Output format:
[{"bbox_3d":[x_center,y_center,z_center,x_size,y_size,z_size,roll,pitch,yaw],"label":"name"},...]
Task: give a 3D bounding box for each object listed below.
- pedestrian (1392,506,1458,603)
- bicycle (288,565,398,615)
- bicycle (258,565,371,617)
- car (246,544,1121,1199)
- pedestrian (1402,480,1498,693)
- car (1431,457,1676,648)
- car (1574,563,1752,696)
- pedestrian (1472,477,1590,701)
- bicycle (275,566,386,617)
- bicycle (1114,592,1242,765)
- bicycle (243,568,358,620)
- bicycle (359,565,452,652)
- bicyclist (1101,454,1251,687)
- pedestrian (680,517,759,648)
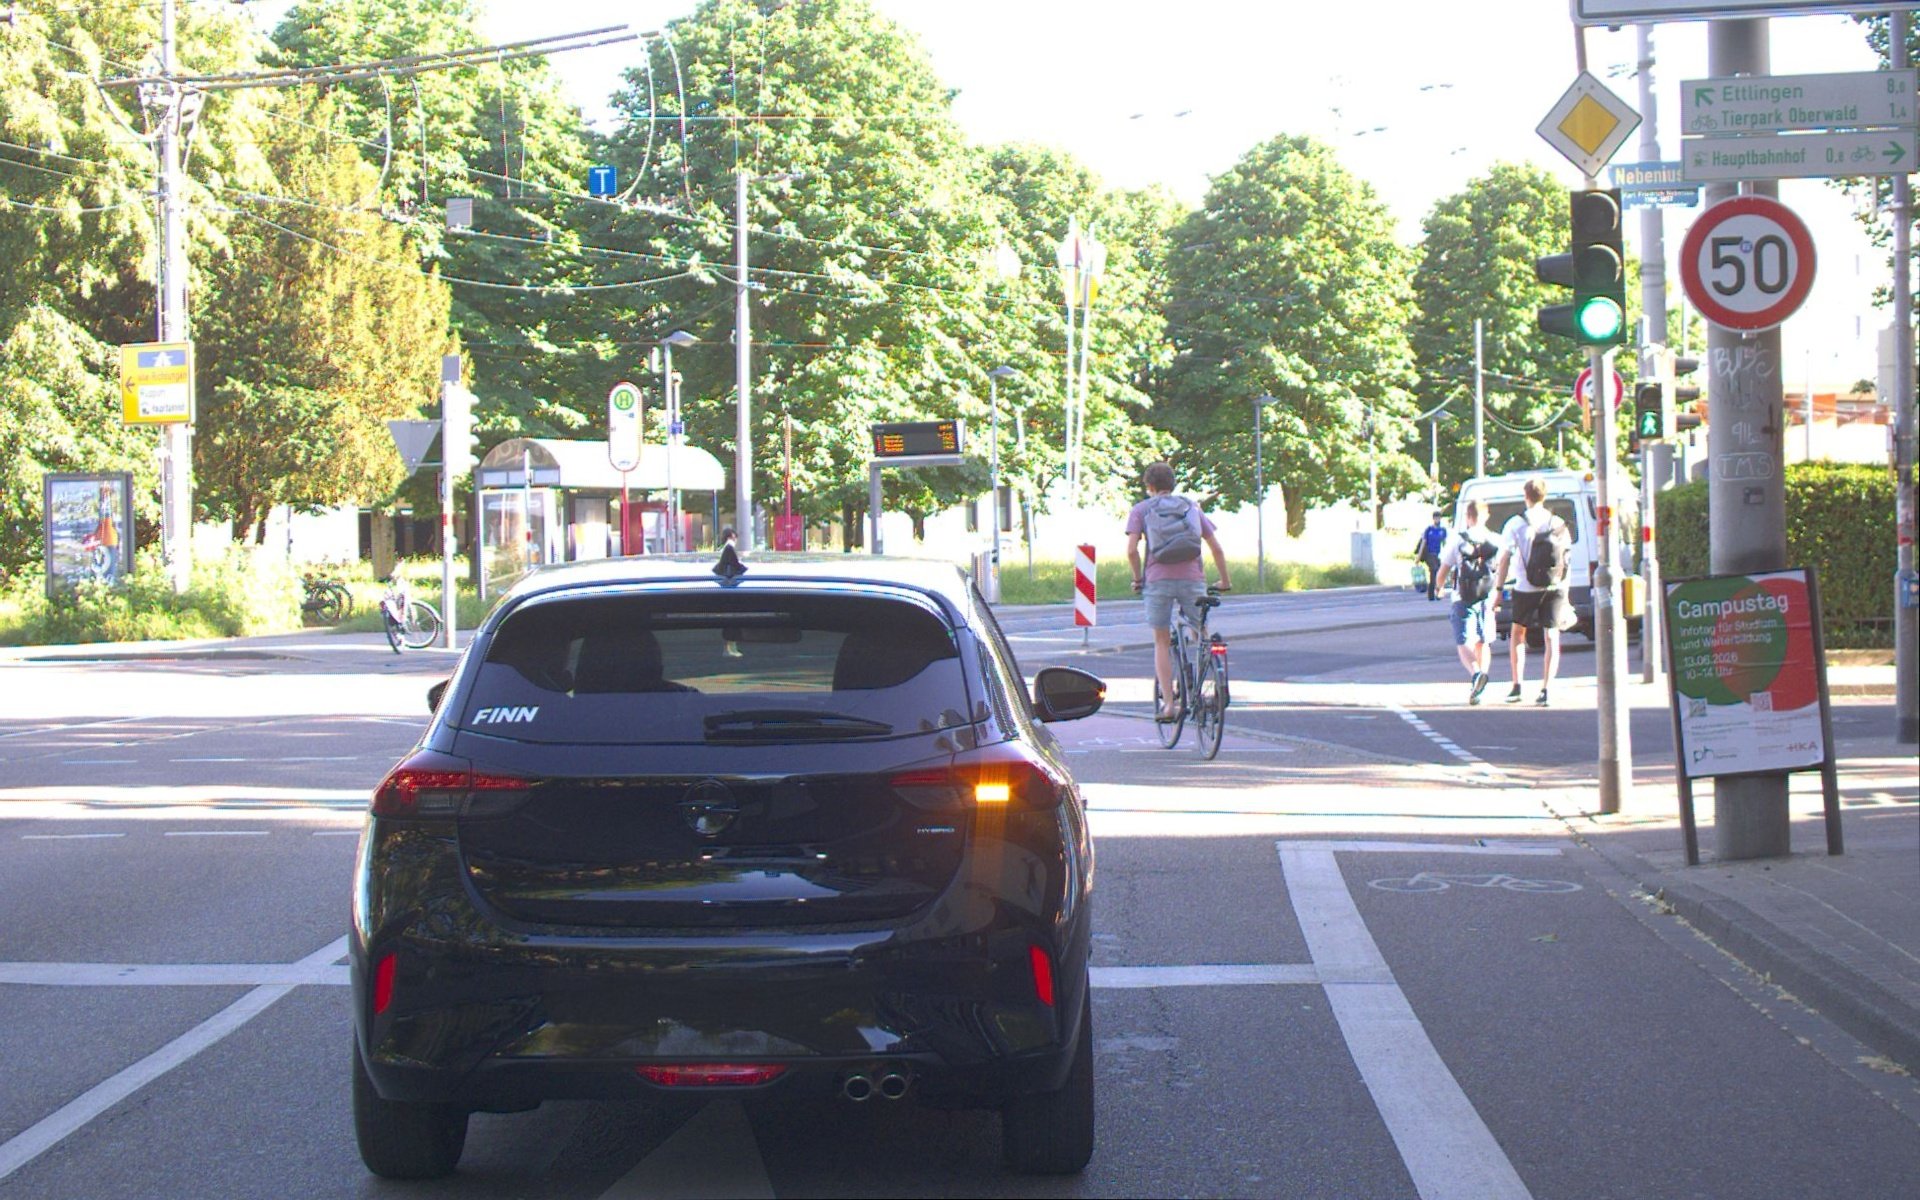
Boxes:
[{"bbox_3d":[8.709,-0.853,64.302,0.959,1.786,0.994,0,1,25],"label":"pedestrian"},{"bbox_3d":[-11.450,-0.182,63.833,1.877,0.903,0.659,-1,1,6],"label":"bicycle"},{"bbox_3d":[-11.630,-0.160,61.989,1.877,0.903,0.659,-1,1,6],"label":"bicycle"},{"bbox_3d":[-0.562,0.592,9.115,1.800,1.436,3.940,-1,1,0],"label":"car"},{"bbox_3d":[4.181,-0.122,29.371,0.698,1.786,0.617,-1,1,-1],"label":"pedestrian"},{"bbox_3d":[7.546,-0.580,43.386,2.092,2.270,4.301,1,0,23],"label":"car"},{"bbox_3d":[10.065,0.386,49.059,1.802,1.757,3.887,0,1,22],"label":"car"},{"bbox_3d":[4.785,-0.101,28.781,0.704,1.840,0.699,0,1,39],"label":"pedestrian"},{"bbox_3d":[-11.500,-0.158,62.861,1.877,0.903,0.659,-1,1,6],"label":"bicycle"},{"bbox_3d":[1.432,0.495,22.875,0.667,1.056,2.082,-1,1,-1],"label":"bicycle"},{"bbox_3d":[-11.704,-0.108,61.003,1.877,0.903,0.659,-1,1,6],"label":"bicycle"},{"bbox_3d":[-7.065,0.097,43.844,0.825,1.056,1.883,-1,1,1],"label":"bicycle"},{"bbox_3d":[1.431,-0.207,22.984,0.840,1.504,1.369,-1,1,-3],"label":"bicyclist"},{"bbox_3d":[-3.145,-0.231,44.911,0.699,1.687,0.727,-2,1,-43],"label":"pedestrian"}]
